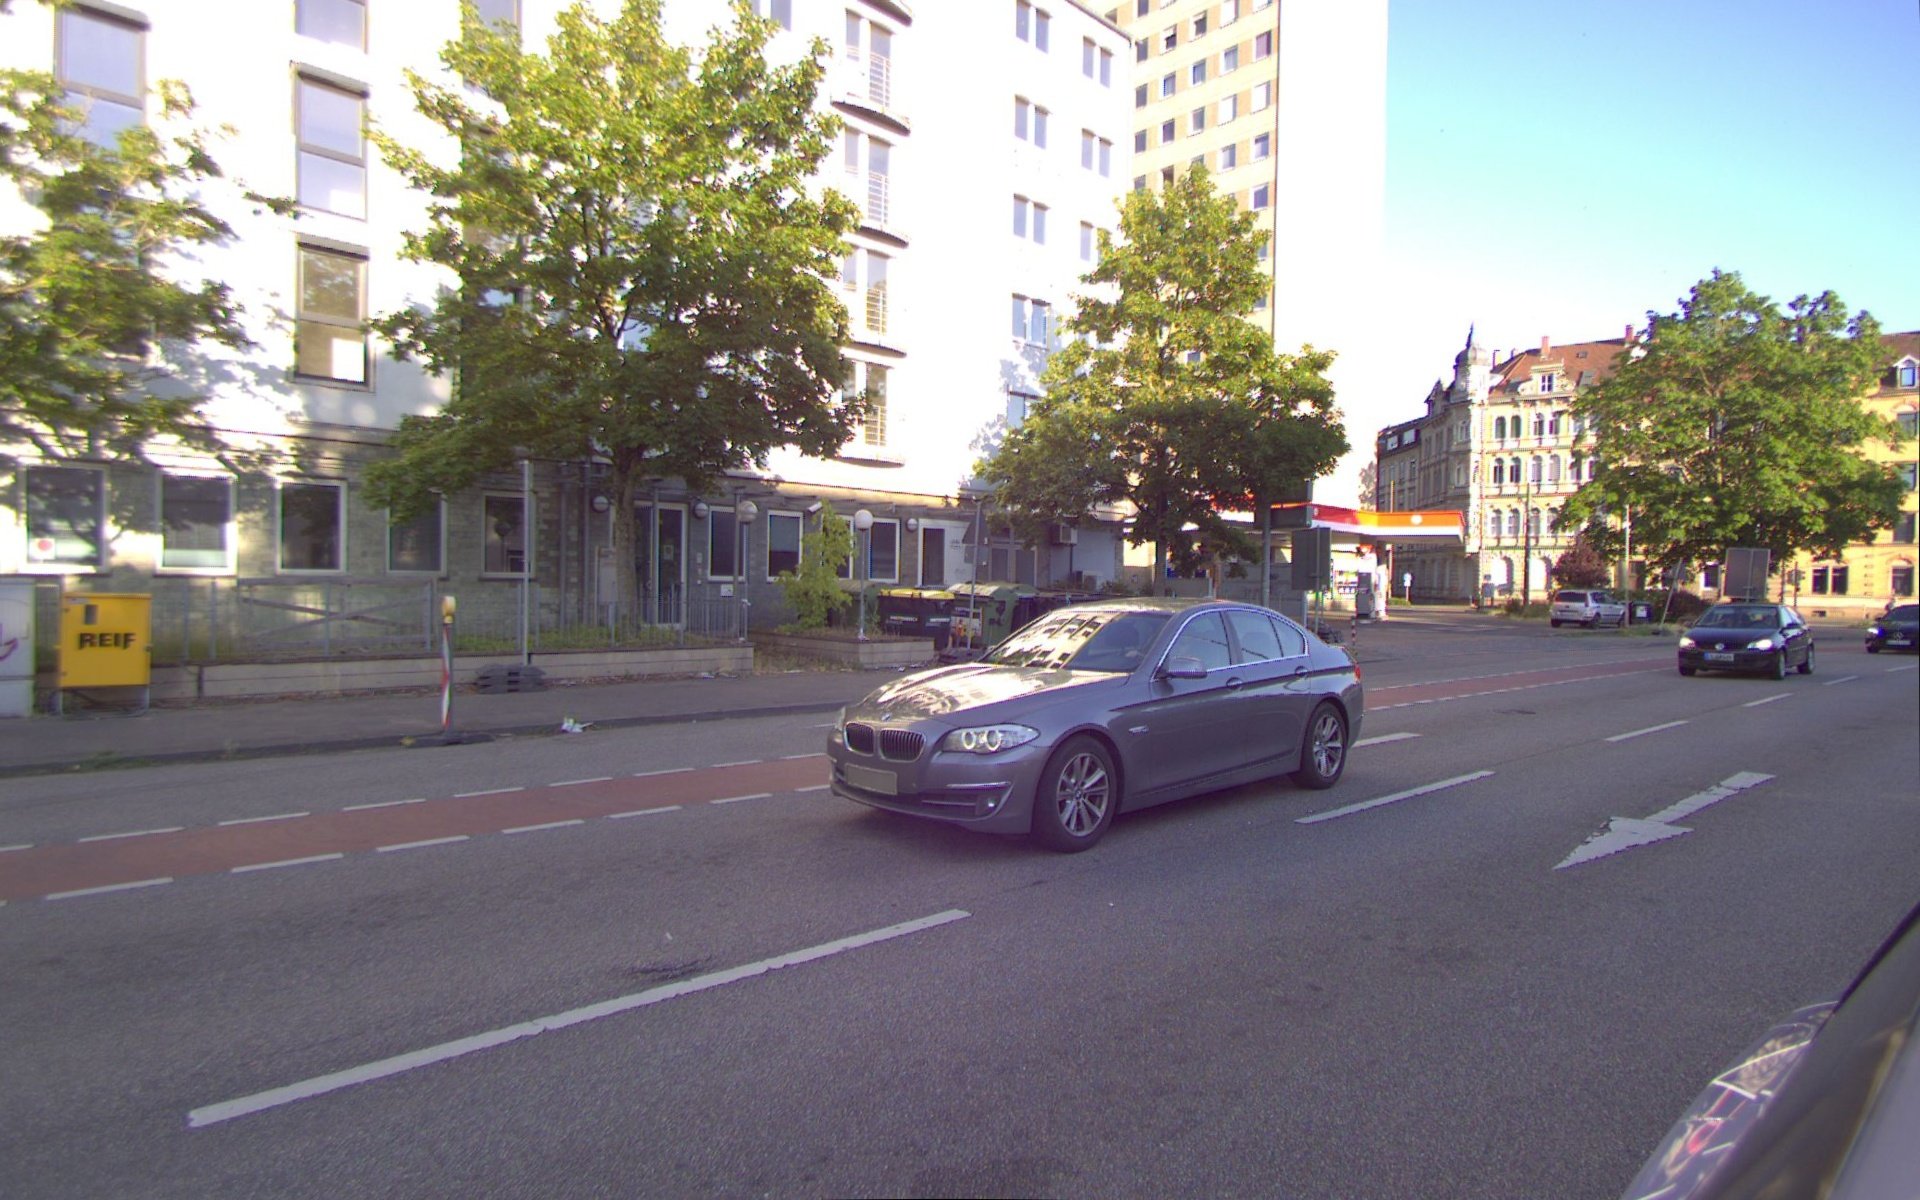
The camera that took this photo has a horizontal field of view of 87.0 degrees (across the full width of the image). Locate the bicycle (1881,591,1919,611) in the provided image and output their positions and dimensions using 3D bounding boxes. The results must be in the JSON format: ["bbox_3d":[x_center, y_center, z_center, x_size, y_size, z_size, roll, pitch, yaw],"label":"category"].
[{"bbox_3d":[53.575,0.039,57.425,1.920,1.072,0.444,2,1,43],"label":"bicycle"}]

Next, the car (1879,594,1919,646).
[{"bbox_3d":[28.569,0.564,29.782,3.973,1.467,1.731,0,0,-39],"label":"car"}]

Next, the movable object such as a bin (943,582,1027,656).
[{"bbox_3d":[0.505,0.363,20.811,1.088,1.441,1.348,0,1,-45],"label":"movable object such as a bin"}]

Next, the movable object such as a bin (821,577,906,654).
[{"bbox_3d":[-1.950,0.287,20.396,1.088,1.479,1.348,0,1,-45],"label":"movable object such as a bin"}]

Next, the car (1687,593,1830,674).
[{"bbox_3d":[16.072,0.602,20.312,3.804,1.467,1.583,0,0,-41],"label":"car"}]

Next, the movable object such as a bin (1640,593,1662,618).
[{"bbox_3d":[29.416,0.239,43.089,0.675,1.031,0.544,0,1,-36],"label":"movable object such as a bin"}]

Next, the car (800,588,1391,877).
[{"bbox_3d":[1.255,0.656,7.384,4.588,1.467,1.817,0,0,-43],"label":"car"}]

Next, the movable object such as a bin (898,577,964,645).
[{"bbox_3d":[-0.669,0.238,23.616,1.143,1.517,1.033,0,1,-44],"label":"movable object such as a bin"}]

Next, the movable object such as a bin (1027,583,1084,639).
[{"bbox_3d":[2.397,0.263,25.339,1.080,1.345,0.954,0,1,-44],"label":"movable object such as a bin"}]

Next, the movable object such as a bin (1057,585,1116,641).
[{"bbox_3d":[3.076,0.293,24.611,1.080,1.299,0.954,0,1,-44],"label":"movable object such as a bin"}]

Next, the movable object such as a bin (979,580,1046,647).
[{"bbox_3d":[1.197,0.284,23.186,1.143,1.467,1.033,0,1,-44],"label":"movable object such as a bin"}]

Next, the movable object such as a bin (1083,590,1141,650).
[{"bbox_3d":[3.561,0.451,23.646,0.938,1.345,0.954,0,1,-43],"label":"movable object such as a bin"}]

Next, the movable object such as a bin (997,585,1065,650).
[{"bbox_3d":[1.556,0.364,22.056,1.143,1.345,0.954,0,1,-44],"label":"movable object such as a bin"}]

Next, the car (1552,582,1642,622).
[{"bbox_3d":[25.765,0.041,40.896,3.723,1.535,1.691,-1,2,-34],"label":"car"}]

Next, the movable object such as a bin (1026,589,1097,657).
[{"bbox_3d":[2.120,0.447,21.082,1.143,1.345,0.954,0,1,-44],"label":"movable object such as a bin"}]

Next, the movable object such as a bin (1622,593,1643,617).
[{"bbox_3d":[29.103,0.224,43.774,0.675,1.031,0.544,0,1,-36],"label":"movable object such as a bin"}]

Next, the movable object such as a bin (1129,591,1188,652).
[{"bbox_3d":[4.535,0.478,23.169,0.938,1.345,0.954,0,1,-43],"label":"movable object such as a bin"}]

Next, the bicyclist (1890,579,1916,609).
[{"bbox_3d":[53.655,-0.325,57.595,1.062,1.669,0.721,2,1,43],"label":"bicyclist"}]

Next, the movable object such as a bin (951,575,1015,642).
[{"bbox_3d":[0.549,0.184,24.178,1.143,1.517,1.033,0,1,-44],"label":"movable object such as a bin"}]

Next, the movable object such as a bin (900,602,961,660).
[{"bbox_3d":[-0.562,0.574,19.465,0.851,1.058,0.806,2,1,45],"label":"movable object such as a bin"}]
